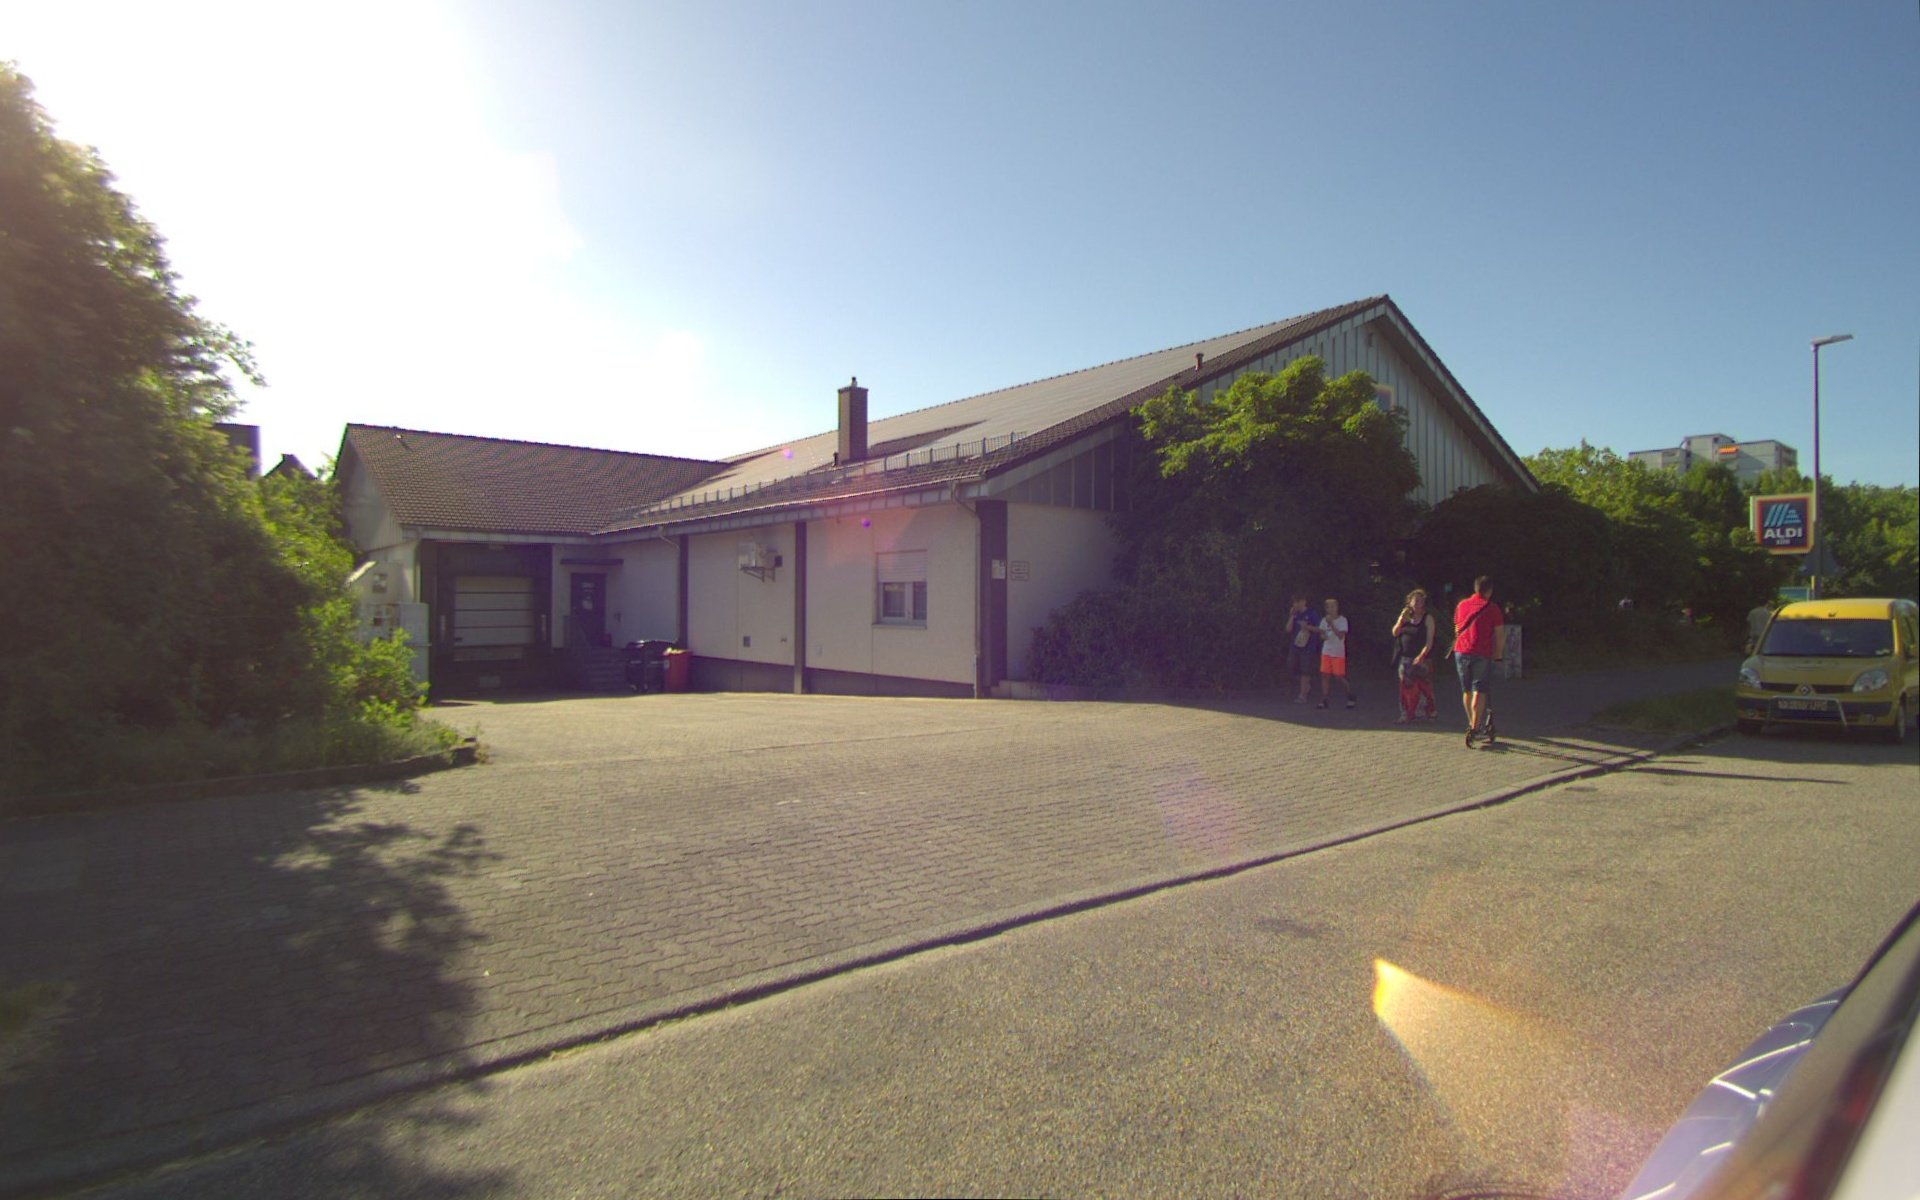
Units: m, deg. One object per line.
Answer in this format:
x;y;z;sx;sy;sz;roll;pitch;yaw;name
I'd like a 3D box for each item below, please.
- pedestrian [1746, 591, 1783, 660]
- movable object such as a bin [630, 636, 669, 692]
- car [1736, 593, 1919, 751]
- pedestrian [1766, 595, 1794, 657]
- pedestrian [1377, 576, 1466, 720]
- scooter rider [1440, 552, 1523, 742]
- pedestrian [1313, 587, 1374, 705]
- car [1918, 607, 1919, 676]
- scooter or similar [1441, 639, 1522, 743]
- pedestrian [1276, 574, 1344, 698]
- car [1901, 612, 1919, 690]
21.217;0.662;26.687;0.579;1.790;0.672;1;-1;-40;pedestrian
-7.900;1.609;25.721;0.742;1.373;0.660;1;-1;-40;movable object such as a bin
11.795;0.826;13.363;3.910;1.799;1.620;0;-1;-40;car
24.140;0.748;29.807;0.579;1.790;0.541;1;-1;-40;pedestrian
5.827;0.582;12.782;0.881;1.709;0.634;1;3;-42;pedestrian
5.840;0.504;11.338;0.478;2.038;0.598;1;3;-45;scooter rider
5.251;0.608;13.844;0.654;1.551;0.447;0;3;-42;pedestrian
24.838;0.991;24.380;4.495;1.617;1.998;1;-1;-39;car
5.859;0.994;11.361;0.456;1.043;1.032;5;3;45;scooter or similar
4.977;0.492;14.391;0.632;1.684;0.583;1;3;-42;pedestrian
20.618;1.003;20.625;3.910;1.506;1.620;0;-1;-40;car
